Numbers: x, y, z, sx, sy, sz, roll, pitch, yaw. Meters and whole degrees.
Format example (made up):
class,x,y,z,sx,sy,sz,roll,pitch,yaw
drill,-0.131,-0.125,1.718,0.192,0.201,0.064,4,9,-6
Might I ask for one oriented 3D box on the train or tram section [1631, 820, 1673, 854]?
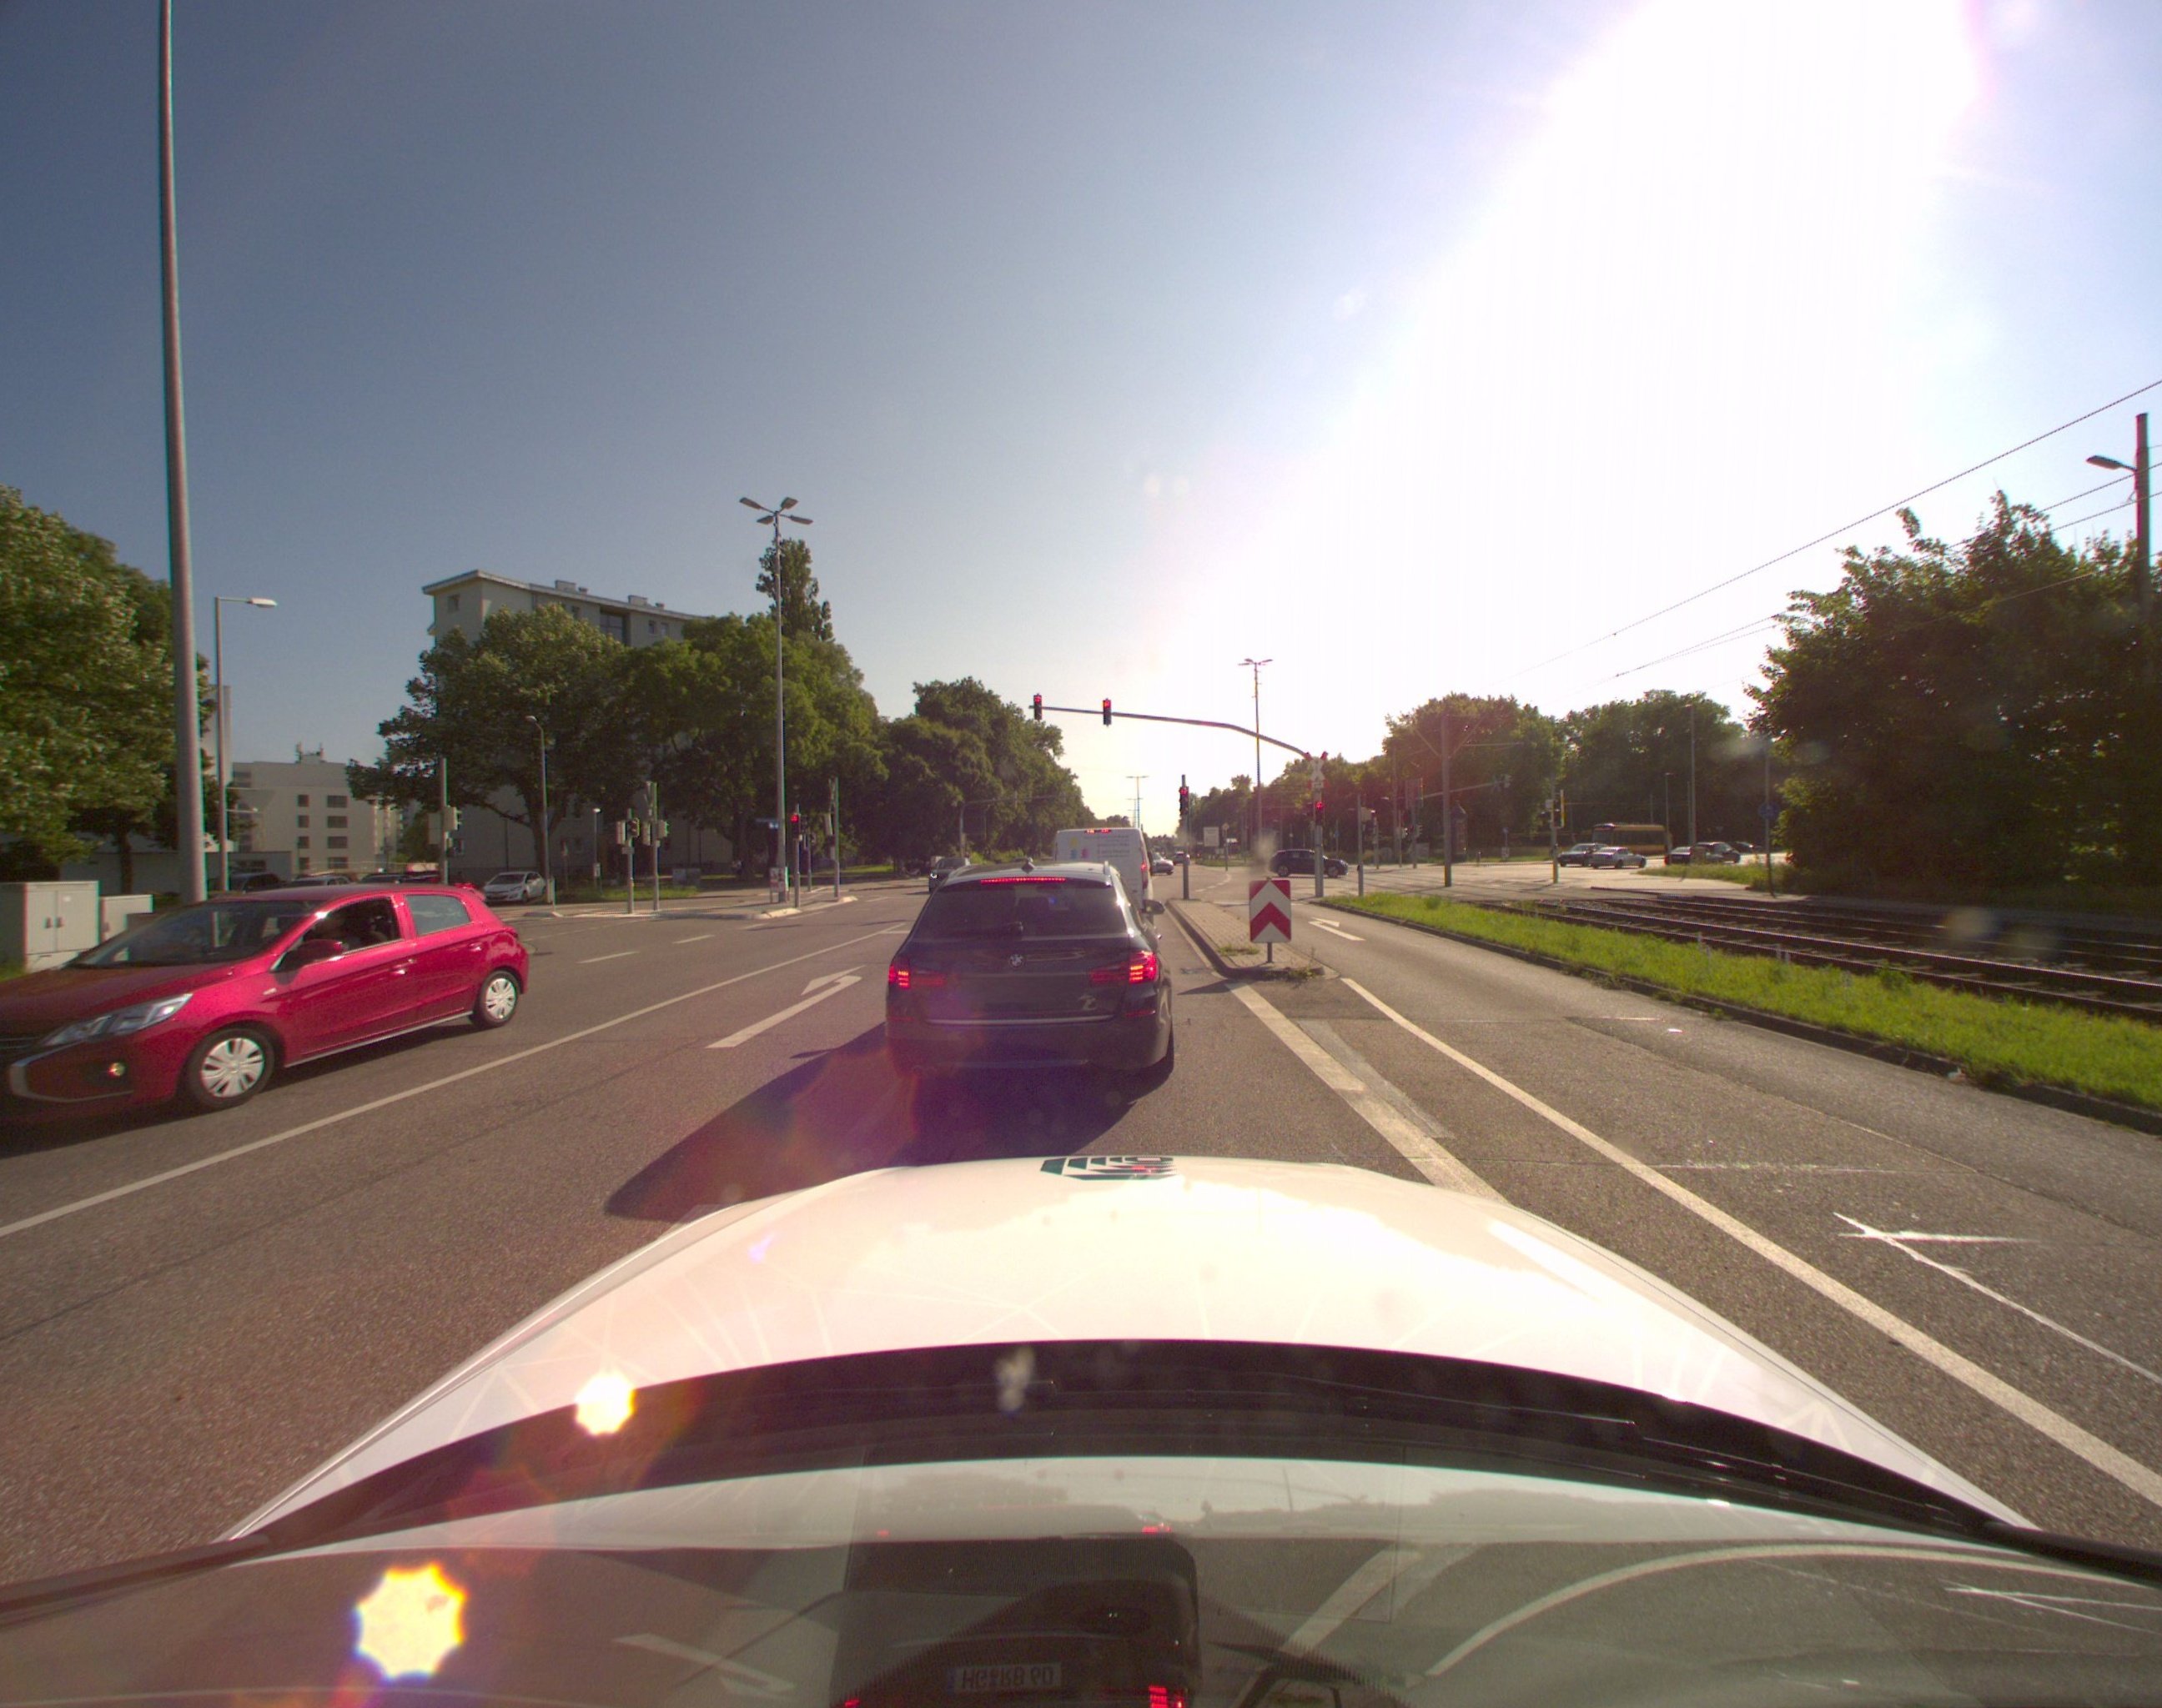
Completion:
class,x,y,z,sx,sy,sz,roll,pitch,yaw
train or tram section,66.110,-1.914,94.572,3.015,3.579,12.308,-1,0,31

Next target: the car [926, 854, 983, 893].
class,x,y,z,sx,sy,sz,roll,pitch,yaw
car,-5.611,0.842,36.513,1.625,1.560,3.681,-3,0,5

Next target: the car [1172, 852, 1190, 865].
class,x,y,z,sx,sy,sz,roll,pitch,yaw
car,11.914,0.493,96.923,1.786,1.486,3.901,-1,0,2

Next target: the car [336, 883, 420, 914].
class,x,y,z,sx,sy,sz,roll,pitch,yaw
car,-32.772,2.047,38.091,1.463,1.193,3.767,-1,0,-15

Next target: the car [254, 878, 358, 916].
class,x,y,z,sx,sy,sz,roll,pitch,yaw
car,-35.412,1.927,37.358,1.783,1.521,3.977,-1,0,-16

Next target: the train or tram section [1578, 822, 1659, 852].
class,x,y,z,sx,sy,sz,roll,pitch,yaw
train or tram section,69.667,-2.064,106.051,3.031,3.579,12.241,-1,0,3

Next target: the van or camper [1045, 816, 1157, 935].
class,x,y,z,sx,sy,sz,roll,pitch,yaw
van or camper,0.500,0.384,17.003,1.985,2.096,4.602,-1,0,3

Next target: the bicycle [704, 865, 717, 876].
class,x,y,z,sx,sy,sz,roll,pitch,yaw
bicycle,-31.024,1.360,68.234,0.673,0.919,2.382,-1,0,-33

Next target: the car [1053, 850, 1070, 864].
class,x,y,z,sx,sy,sz,roll,pitch,yaw
car,-2.366,0.382,100.665,1.738,1.562,4.003,-3,0,3

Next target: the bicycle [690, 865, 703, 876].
class,x,y,z,sx,sy,sz,roll,pitch,yaw
bicycle,-31.936,1.380,67.645,0.678,0.875,2.460,-1,0,-33

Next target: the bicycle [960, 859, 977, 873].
class,x,y,z,sx,sy,sz,roll,pitch,yaw
bicycle,-8.598,0.887,62.367,0.616,1.040,2.077,-1,0,10

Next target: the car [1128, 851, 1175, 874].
class,x,y,z,sx,sy,sz,roll,pitch,yaw
car,4.469,0.520,51.945,1.607,1.383,3.505,-1,0,-20

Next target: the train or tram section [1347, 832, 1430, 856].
class,x,y,z,sx,sy,sz,roll,pitch,yaw
train or tram section,50.401,-1.668,133.841,12.279,3.579,3.073,-1,0,33

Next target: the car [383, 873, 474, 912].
class,x,y,z,sx,sy,sz,roll,pitch,yaw
car,-30.904,1.775,38.707,1.782,1.415,3.982,-1,4,-14

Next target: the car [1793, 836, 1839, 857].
class,x,y,z,sx,sy,sz,roll,pitch,yaw
car,61.858,-0.651,68.561,4.654,1.665,1.978,-1,0,-37

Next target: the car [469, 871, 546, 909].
class,x,y,z,sx,sy,sz,roll,pitch,yaw
car,-27.884,1.729,39.752,1.783,1.439,3.980,-1,3,-15

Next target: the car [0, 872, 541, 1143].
class,x,y,z,sx,sy,sz,roll,pitch,yaw
car,-6.541,0.971,6.663,1.688,1.498,3.677,-2,0,1

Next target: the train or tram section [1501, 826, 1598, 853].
class,x,y,z,sx,sy,sz,roll,pitch,yaw
train or tram section,67.345,-1.977,117.558,3.064,3.579,12.108,-1,0,-31

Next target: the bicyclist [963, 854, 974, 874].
class,x,y,z,sx,sy,sz,roll,pitch,yaw
bicyclist,-8.594,0.769,62.307,0.603,1.560,0.604,-1,0,9

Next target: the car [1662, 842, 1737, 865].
class,x,y,z,sx,sy,sz,roll,pitch,yaw
car,39.516,-0.028,52.003,4.415,1.354,1.984,-1,0,-25

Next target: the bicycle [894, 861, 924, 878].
class,x,y,z,sx,sy,sz,roll,pitch,yaw
bicycle,-11.632,1.047,55.085,1.902,1.119,0.632,-1,0,1

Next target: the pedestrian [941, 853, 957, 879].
class,x,y,z,sx,sy,sz,roll,pitch,yaw
pedestrian,-8.931,0.810,55.042,0.811,1.752,0.933,-1,0,7

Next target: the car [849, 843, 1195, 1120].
class,x,y,z,sx,sy,sz,roll,pitch,yaw
car,-0.260,0.711,6.568,1.896,1.506,4.067,-1,0,2

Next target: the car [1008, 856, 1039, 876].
class,x,y,z,sx,sy,sz,roll,pitch,yaw
car,-4.413,0.907,63.131,1.771,1.414,4.249,-1,0,4

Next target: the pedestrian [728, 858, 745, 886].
class,x,y,z,sx,sy,sz,roll,pitch,yaw
pedestrian,-21.668,1.111,51.192,0.619,1.713,0.707,-1,0,14

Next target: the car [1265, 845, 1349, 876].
class,x,y,z,sx,sy,sz,roll,pitch,yaw
car,13.147,0.372,47.426,4.568,1.722,1.658,0,1,21

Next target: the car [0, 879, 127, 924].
class,x,y,z,sx,sy,sz,roll,pitch,yaw
car,-44.364,2.006,35.225,1.785,1.477,4.785,-1,3,-19

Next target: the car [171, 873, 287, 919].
class,x,y,z,sx,sy,sz,roll,pitch,yaw
car,-38.057,1.822,36.524,1.783,1.811,3.977,-1,0,-16

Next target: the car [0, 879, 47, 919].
class,x,y,z,sx,sy,sz,roll,pitch,yaw
car,-46.077,2.012,33.671,1.785,1.476,4.686,-1,3,-19

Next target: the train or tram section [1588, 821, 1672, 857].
class,x,y,z,sx,sy,sz,roll,pitch,yaw
train or tram section,58.035,-1.568,85.927,11.898,3.579,3.022,-1,0,-34

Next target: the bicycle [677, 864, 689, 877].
class,x,y,z,sx,sy,sz,roll,pitch,yaw
bicycle,-32.738,1.373,67.018,0.615,1.066,1.896,0,-2,-34

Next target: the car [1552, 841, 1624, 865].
class,x,y,z,sx,sy,sz,roll,pitch,yaw
car,35.959,-0.072,57.748,4.871,1.562,2.027,-1,0,-26

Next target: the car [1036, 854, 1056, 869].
class,x,y,z,sx,sy,sz,roll,pitch,yaw
car,-3.680,0.744,86.169,1.695,1.465,4.372,-3,0,3

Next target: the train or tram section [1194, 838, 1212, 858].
class,x,y,z,sx,sy,sz,roll,pitch,yaw
train or tram section,23.355,-1.045,156.620,2.782,3.618,12.976,0,0,6

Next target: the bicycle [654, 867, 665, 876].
class,x,y,z,sx,sy,sz,roll,pitch,yaw
bicycle,-34.305,1.428,66.240,0.587,0.708,2.215,-1,0,-33

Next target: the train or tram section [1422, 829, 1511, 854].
class,x,y,z,sx,sy,sz,roll,pitch,yaw
train or tram section,60.010,-1.840,126.946,12.072,3.579,3.073,-1,0,38

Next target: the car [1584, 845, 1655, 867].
class,x,y,z,sx,sy,sz,roll,pitch,yaw
car,35.756,0.108,54.071,4.418,1.354,1.983,-1,0,-27
